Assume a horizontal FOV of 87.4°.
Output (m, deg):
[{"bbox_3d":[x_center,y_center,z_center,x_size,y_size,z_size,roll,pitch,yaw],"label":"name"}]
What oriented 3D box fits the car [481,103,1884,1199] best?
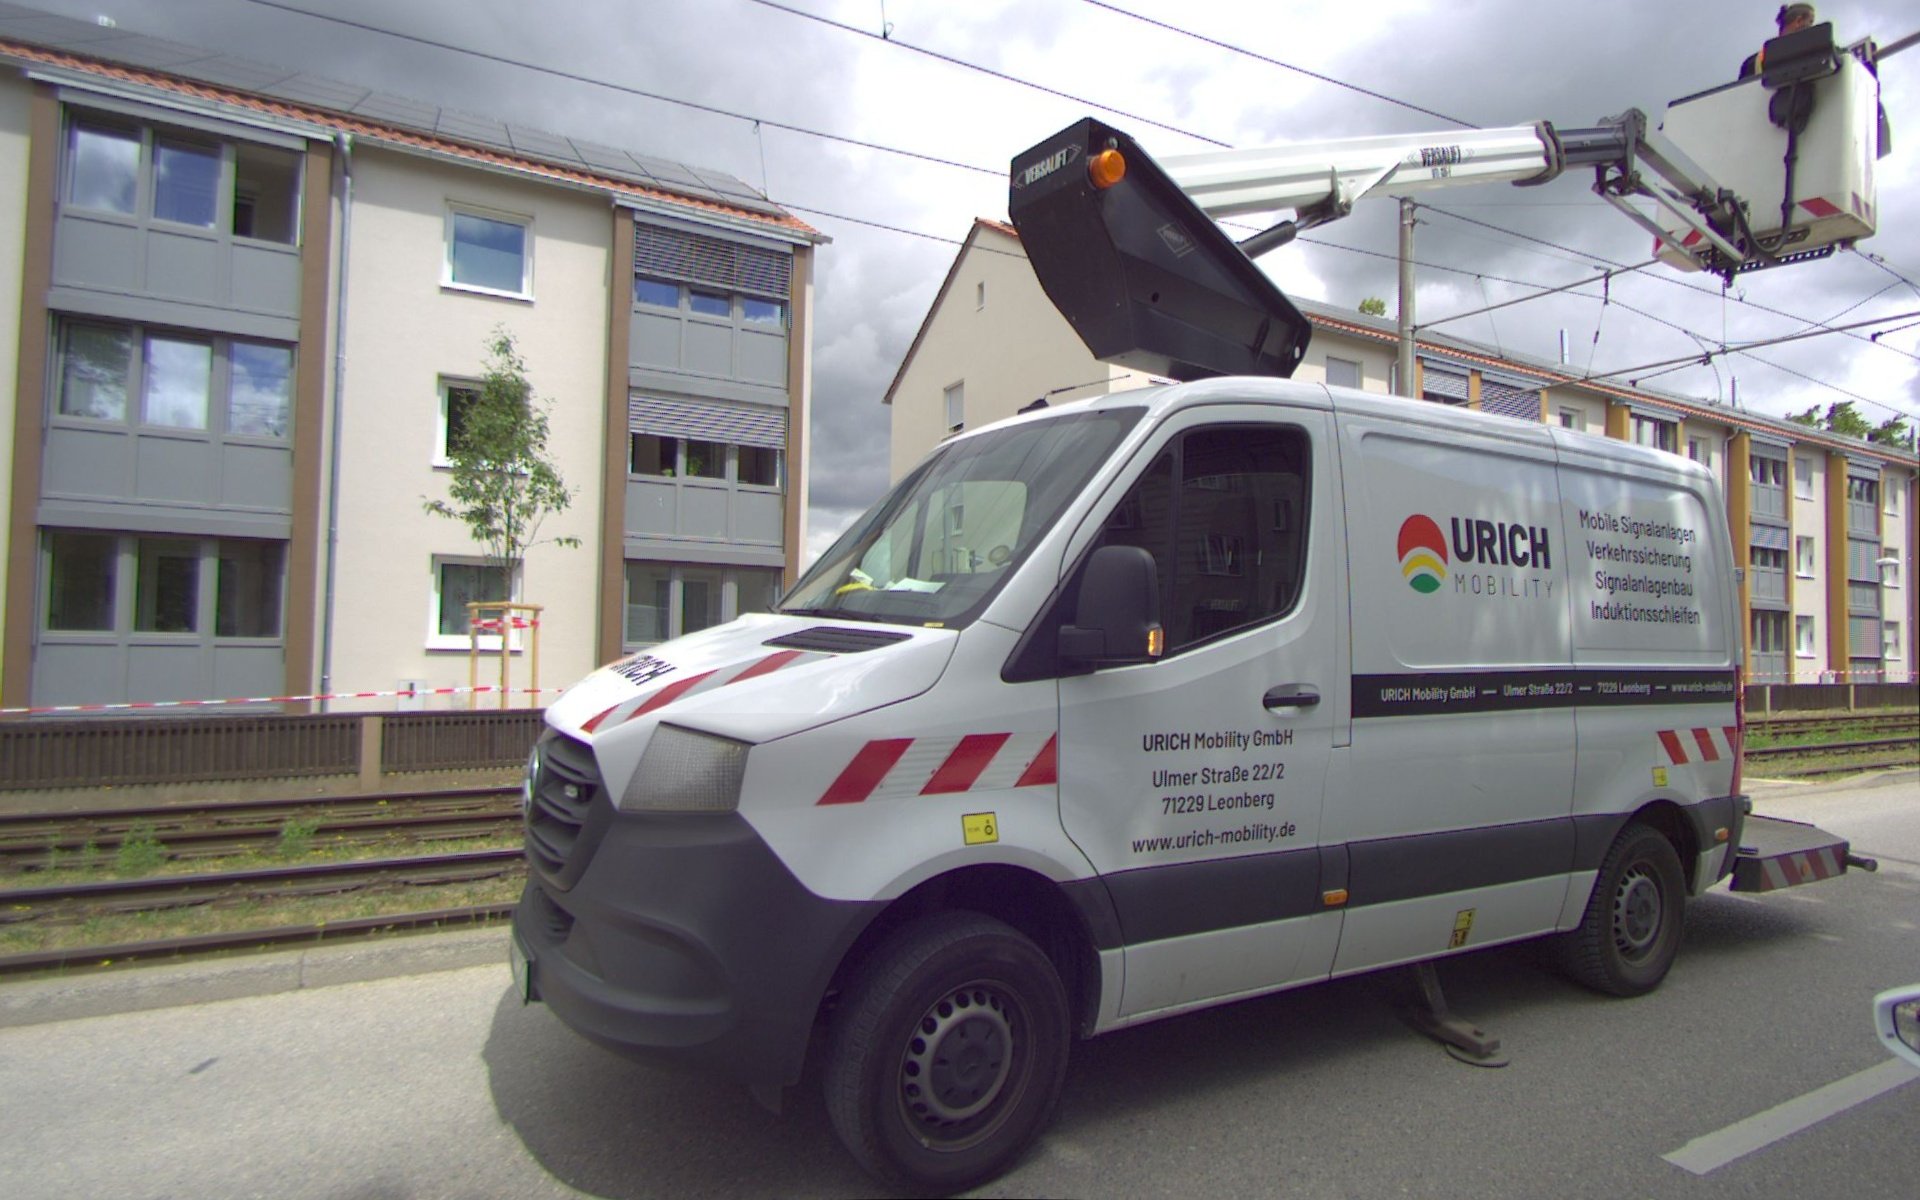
[{"bbox_3d":[1.453,0.355,4.379,6.246,2.462,1.985,2,-1,-30],"label":"car"}]
